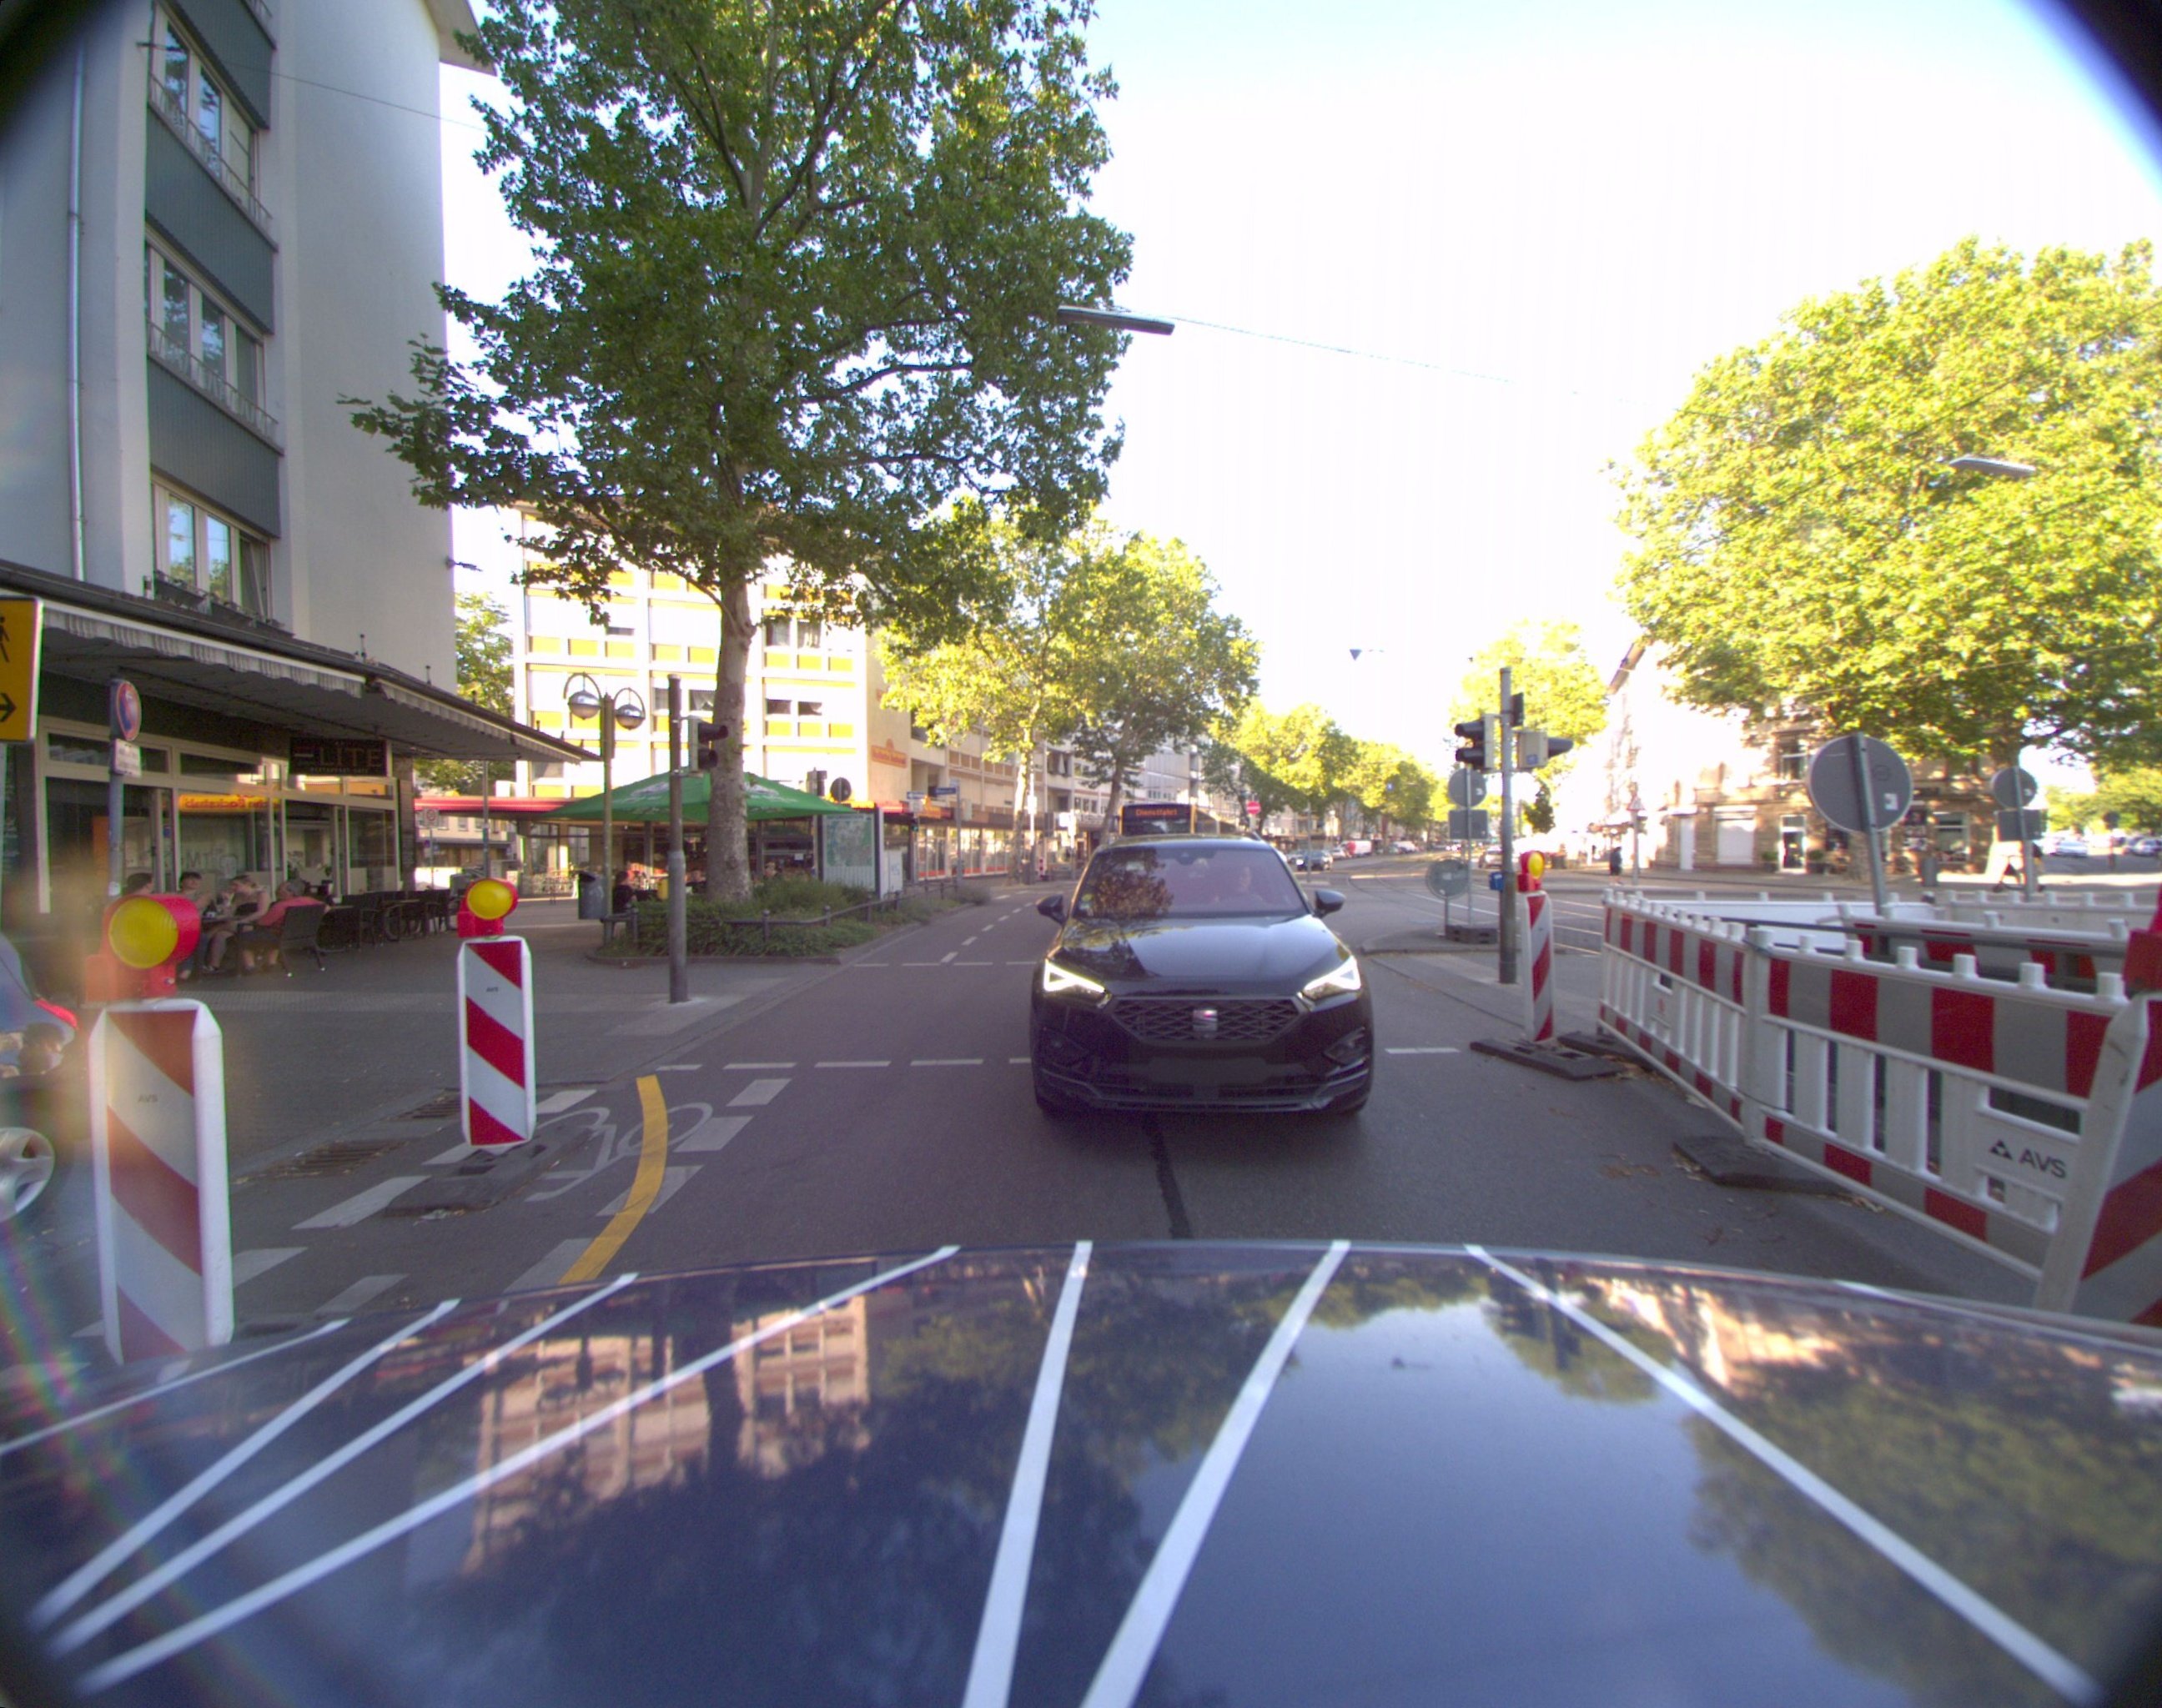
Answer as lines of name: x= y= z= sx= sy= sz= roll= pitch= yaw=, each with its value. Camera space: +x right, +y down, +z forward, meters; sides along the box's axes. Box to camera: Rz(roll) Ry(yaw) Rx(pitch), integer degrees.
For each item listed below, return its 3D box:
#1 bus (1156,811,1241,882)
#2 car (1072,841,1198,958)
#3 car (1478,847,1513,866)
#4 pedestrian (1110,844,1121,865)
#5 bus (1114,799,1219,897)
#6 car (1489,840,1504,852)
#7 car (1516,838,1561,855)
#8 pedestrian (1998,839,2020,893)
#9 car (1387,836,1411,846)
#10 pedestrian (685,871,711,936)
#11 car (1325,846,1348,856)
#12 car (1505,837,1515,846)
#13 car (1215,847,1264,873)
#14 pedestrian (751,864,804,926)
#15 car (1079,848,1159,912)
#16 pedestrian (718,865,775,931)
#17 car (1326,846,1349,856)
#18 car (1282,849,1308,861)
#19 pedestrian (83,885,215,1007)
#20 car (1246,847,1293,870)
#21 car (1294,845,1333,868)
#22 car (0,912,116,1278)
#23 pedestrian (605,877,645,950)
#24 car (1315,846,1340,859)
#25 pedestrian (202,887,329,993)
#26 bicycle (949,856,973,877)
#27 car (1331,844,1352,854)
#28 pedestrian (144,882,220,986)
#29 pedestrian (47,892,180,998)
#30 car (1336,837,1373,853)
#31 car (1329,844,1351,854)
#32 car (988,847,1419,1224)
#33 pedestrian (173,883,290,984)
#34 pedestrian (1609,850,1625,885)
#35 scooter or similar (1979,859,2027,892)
bus: x=6.089 y=-0.357 z=37.926 sx=2.749 sy=3.085 sz=9.508 roll=0 pitch=1 yaw=17
car: x=0.976 y=0.638 z=12.987 sx=1.743 sy=1.630 sz=4.300 roll=-2 pitch=0 yaw=6
car: x=30.874 y=0.162 z=56.515 sx=1.880 sy=1.401 sz=4.008 roll=0 pitch=1 yaw=35
pedestrian: x=2.727 y=0.051 z=60.867 sx=0.658 sy=1.632 sz=0.660 roll=0 pitch=1 yaw=26
bus: x=3.546 y=-0.241 z=28.814 sx=2.750 sy=3.085 sz=9.506 roll=0 pitch=1 yaw=14
car: x=67.257 y=-1.316 z=122.917 sx=1.994 sy=1.856 sz=4.007 roll=0 pitch=1 yaw=31
car: x=52.274 y=-0.870 z=86.859 sx=3.999 sy=1.904 sz=1.998 roll=-1 pitch=1 yaw=-7
pedestrian: x=30.039 y=0.384 z=24.588 sx=0.355 sy=1.757 sz=0.418 roll=-2 pitch=2 yaw=-41
car: x=64.431 y=-2.555 z=154.055 sx=4.000 sy=2.002 sz=1.879 roll=-1 pitch=1 yaw=-8
pedestrian: x=-7.404 y=0.950 z=14.692 sx=0.433 sy=1.212 sz=0.467 roll=1 pitch=1 yaw=-29
car: x=32.978 y=-0.363 z=98.014 sx=2.627 sy=1.274 sz=1.201 roll=-1 pitch=2 yaw=3
car: x=96.406 y=-2.864 z=170.586 sx=1.903 sy=1.893 sz=4.007 roll=0 pitch=1 yaw=29
car: x=9.712 y=0.326 z=46.245 sx=1.908 sy=1.467 sz=4.425 roll=0 pitch=2 yaw=26
pedestrian: x=-6.532 y=0.874 z=16.392 sx=0.718 sy=1.278 sz=0.769 roll=-1 pitch=1 yaw=13
car: x=1.114 y=0.615 z=20.351 sx=1.743 sy=1.492 sz=4.301 roll=-2 pitch=0 yaw=8
pedestrian: x=-6.801 y=0.878 z=15.468 sx=0.718 sy=1.278 sz=0.769 roll=0 pitch=1 yaw=14
car: x=34.130 y=-0.451 z=101.114 sx=2.627 sy=1.274 sz=1.201 roll=-1 pitch=2 yaw=3
car: x=23.985 y=0.098 z=85.206 sx=2.629 sy=1.209 sz=1.200 roll=-1 pitch=2 yaw=-6
pedestrian: x=-10.217 y=0.977 z=8.359 sx=0.651 sy=1.244 sz=0.716 roll=1 pitch=0 yaw=-24
car: x=13.732 y=0.308 z=55.198 sx=1.952 sy=1.541 sz=4.765 roll=0 pitch=2 yaw=31
car: x=16.439 y=0.175 z=53.561 sx=1.952 sy=1.467 sz=4.764 roll=0 pitch=2 yaw=26
car: x=-5.152 y=0.993 z=1.632 sx=1.623 sy=1.457 sz=3.604 roll=2 pitch=0 yaw=-2
pedestrian: x=-7.795 y=1.002 z=12.978 sx=0.469 sy=1.212 sz=0.431 roll=-2 pitch=1 yaw=-44
car: x=29.858 y=-0.212 z=92.031 sx=2.627 sy=1.464 sz=1.201 roll=-1 pitch=2 yaw=3
pedestrian: x=-9.844 y=1.012 z=9.209 sx=0.847 sy=1.191 sz=0.649 roll=1 pitch=0 yaw=-22
bicycle: x=-6.640 y=0.668 z=42.240 sx=0.528 sy=1.136 sz=1.976 roll=0 pitch=1 yaw=15
car: x=36.792 y=-0.723 z=107.291 sx=2.627 sy=1.338 sz=1.201 roll=-1 pitch=2 yaw=3
pedestrian: x=-11.239 y=0.978 z=9.503 sx=0.519 sy=1.236 sz=0.553 roll=0 pitch=0 yaw=34
pedestrian: x=-11.084 y=1.018 z=8.734 sx=0.718 sy=1.123 sz=0.649 roll=1 pitch=0 yaw=-24
car: x=40.720 y=-1.374 z=113.286 sx=4.868 sy=2.362 sz=1.878 roll=-1 pitch=2 yaw=-10
car: x=35.539 y=-0.665 z=104.395 sx=2.627 sy=1.380 sz=1.201 roll=-1 pitch=2 yaw=3
car: x=0.685 y=0.804 z=5.513 sx=1.848 sy=1.648 sz=4.300 roll=-2 pitch=0 yaw=4
pedestrian: x=-10.689 y=0.978 z=9.590 sx=0.666 sy=1.211 sz=0.717 roll=0 pitch=0 yaw=-5
pedestrian: x=20.142 y=0.492 z=28.553 sx=0.365 sy=1.301 sz=0.402 roll=0 pitch=1 yaw=18
scooter or similar: x=29.743 y=0.699 z=24.523 sx=0.309 sy=1.033 sz=0.979 roll=-2 pitch=1 yaw=-40
